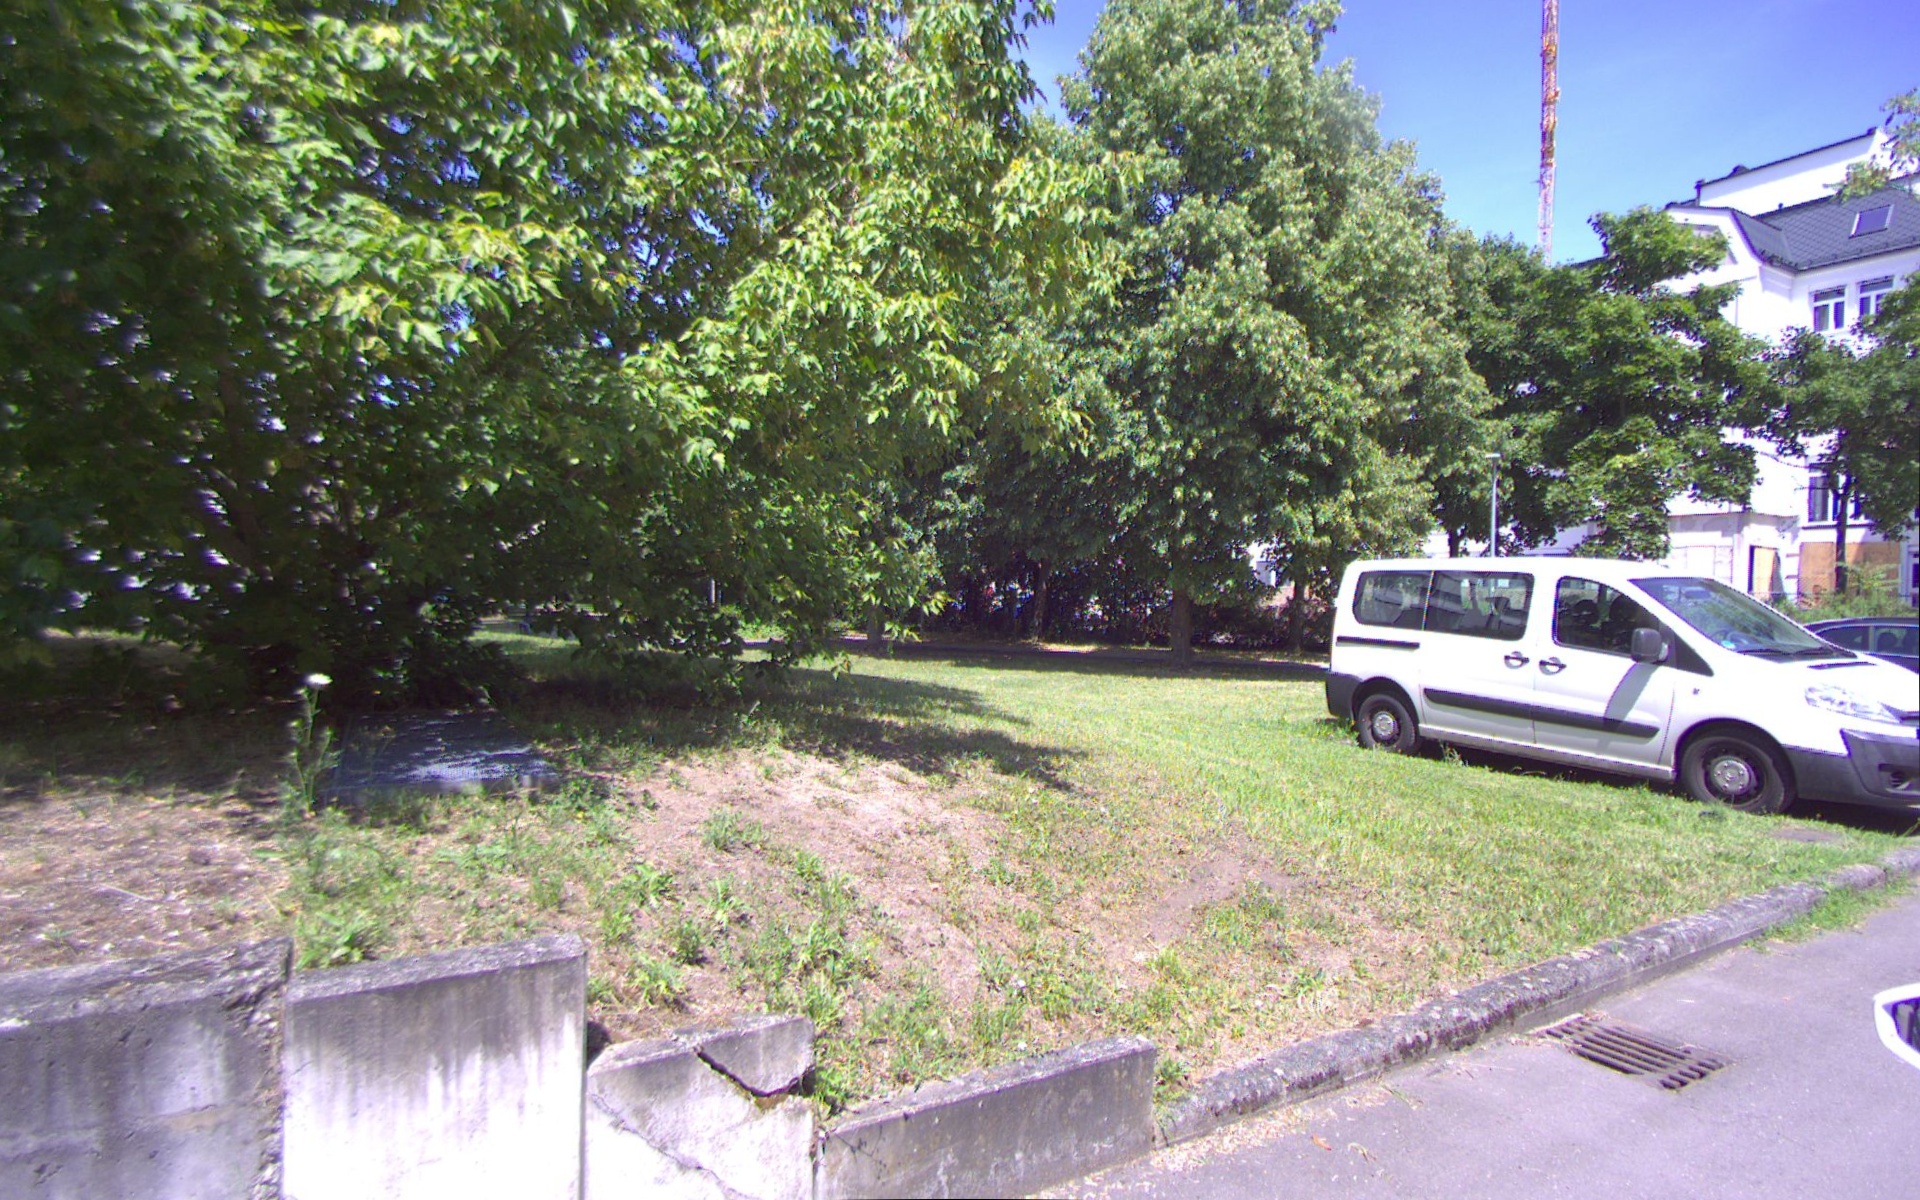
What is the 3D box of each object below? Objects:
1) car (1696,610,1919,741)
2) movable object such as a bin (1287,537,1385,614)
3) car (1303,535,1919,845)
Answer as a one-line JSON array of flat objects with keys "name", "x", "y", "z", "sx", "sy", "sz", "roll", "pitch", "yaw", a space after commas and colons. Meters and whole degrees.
[{"name": "car", "x": 11.445, "y": 0.884, "z": 11.527, "sx": 1.998, "sy": 1.398, "sz": 4.412, "roll": 2, "pitch": 0, "yaw": -27}, {"name": "movable object such as a bin", "x": 22.869, "y": -1.413, "z": 61.364, "sx": 1.974, "sy": 4.430, "sz": 5.685, "roll": 2, "pitch": 0, "yaw": -26}, {"name": "car", "x": 5.608, "y": 0.562, "z": 8.808, "sx": 2.041, "sy": 1.908, "sz": 4.828, "roll": 2, "pitch": 0, "yaw": -27}]
